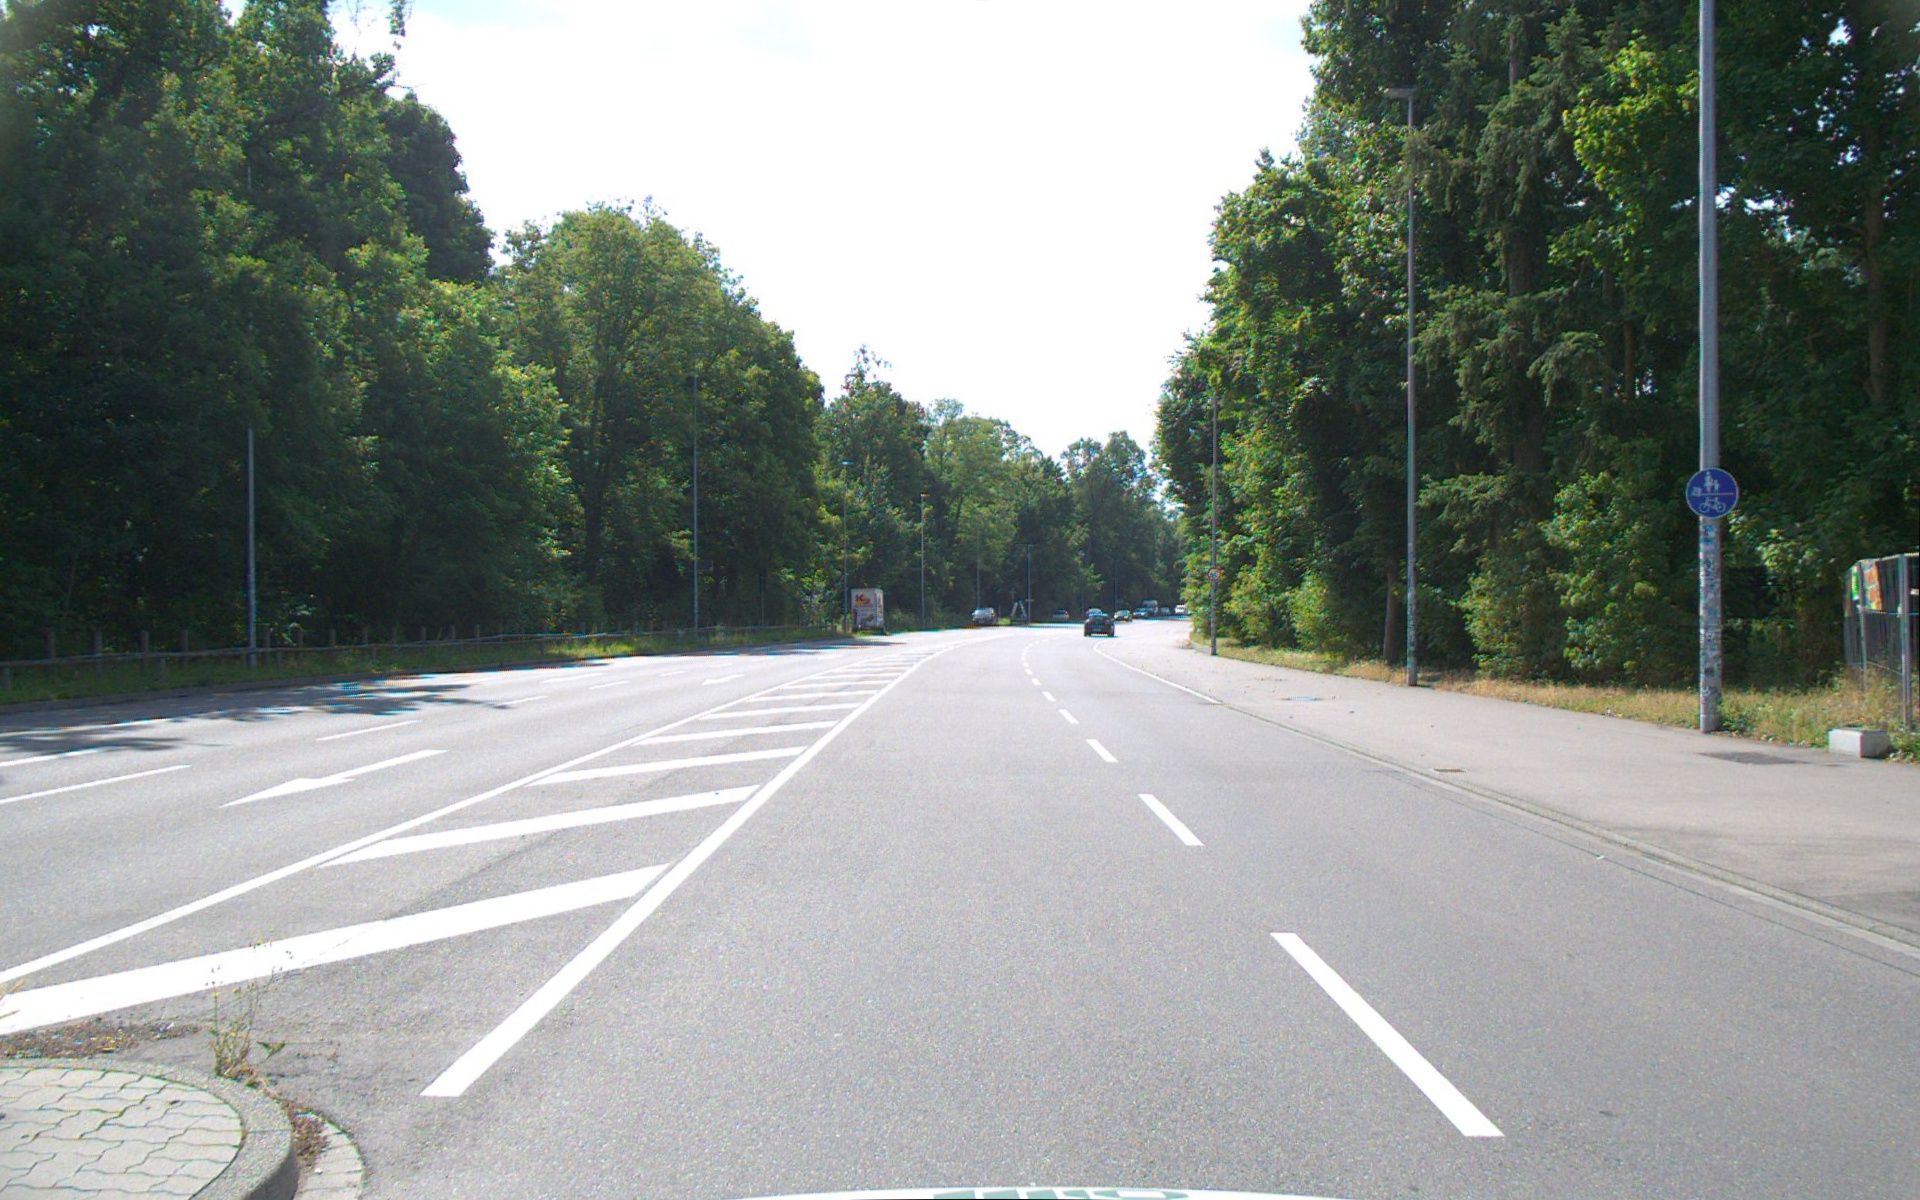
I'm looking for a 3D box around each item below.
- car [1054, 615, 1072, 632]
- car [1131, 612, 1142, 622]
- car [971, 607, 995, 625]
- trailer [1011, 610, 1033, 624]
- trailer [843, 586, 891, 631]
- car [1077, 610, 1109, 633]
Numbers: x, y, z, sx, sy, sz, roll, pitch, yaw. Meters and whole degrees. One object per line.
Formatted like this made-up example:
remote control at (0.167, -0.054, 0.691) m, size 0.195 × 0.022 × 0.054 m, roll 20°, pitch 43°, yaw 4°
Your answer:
car at (11.906, 2.693, 191.009) m, size 1.882 × 1.887 × 4.002 m, roll 1°, pitch -1°, yaw 5°
car at (25.449, 2.435, 238.167) m, size 1.471 × 1.472 × 3.531 m, roll 1°, pitch -1°, yaw 6°
car at (1.966, 1.365, 141.038) m, size 1.471 × 1.472 × 3.532 m, roll 1°, pitch -1°, yaw 11°
trailer at (6.150, 1.718, 163.763) m, size 1.679 × 1.378 × 3.735 m, roll 1°, pitch -1°, yaw 11°
trailer at (-5.170, 0.489, 92.562) m, size 1.951 × 2.430 × 4.003 m, roll 1°, pitch -1°, yaw 7°
car at (8.561, 1.366, 106.068) m, size 1.563 × 1.402 × 3.979 m, roll 1°, pitch -1°, yaw 12°
